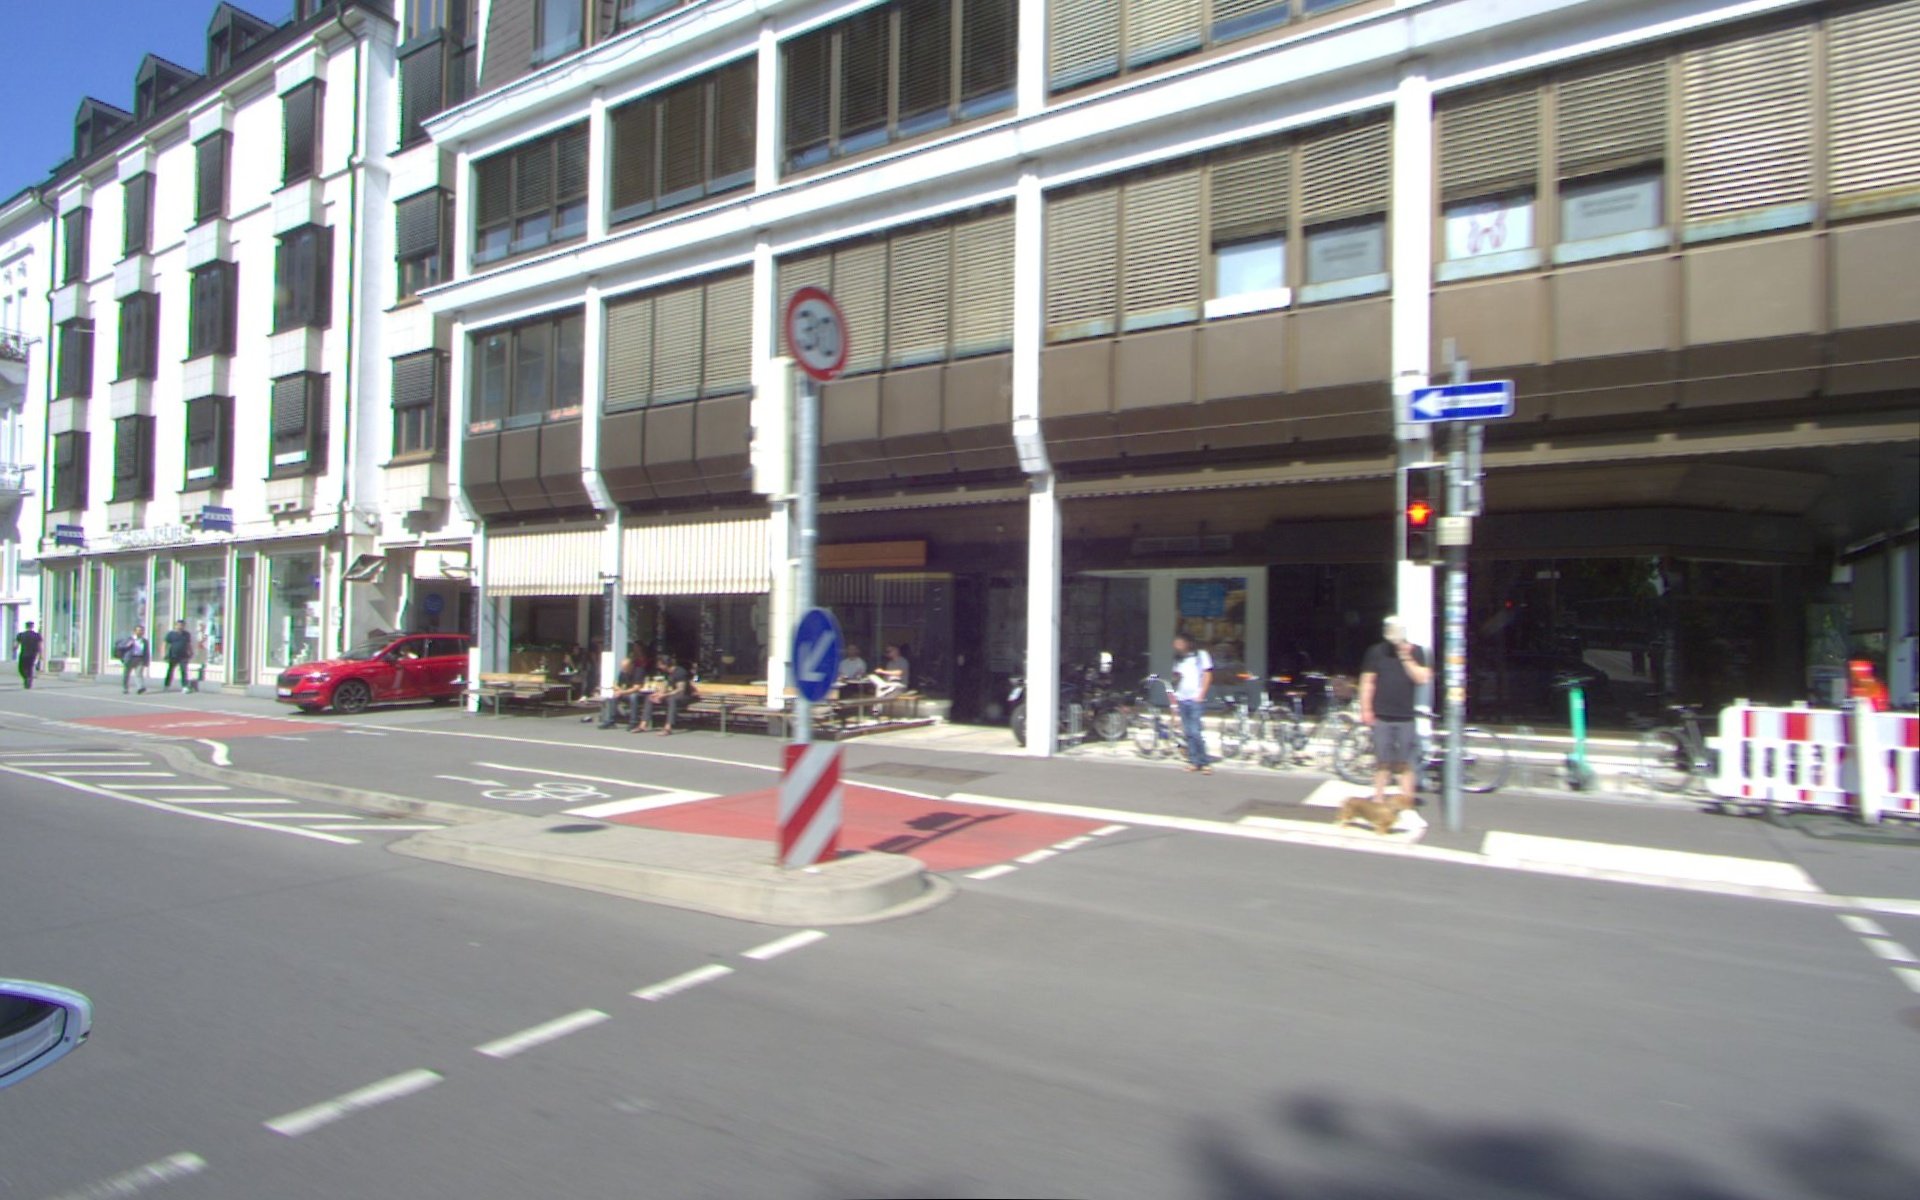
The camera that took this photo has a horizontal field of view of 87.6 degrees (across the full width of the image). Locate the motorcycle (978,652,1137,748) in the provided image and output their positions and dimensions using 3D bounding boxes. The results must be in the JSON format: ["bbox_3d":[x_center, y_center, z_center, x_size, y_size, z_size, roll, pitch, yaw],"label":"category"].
[{"bbox_3d":[1.440,1.413,14.677,2.212,1.306,0.944,1,-3,-31],"label":"motorcycle"}]

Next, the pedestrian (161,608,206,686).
[{"bbox_3d":[-19.157,1.157,24.699,0.826,1.873,0.691,-2,-3,40],"label":"pedestrian"}]

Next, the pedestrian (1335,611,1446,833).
[{"bbox_3d":[3.866,1.054,8.978,0.688,1.858,0.829,-2,-3,40],"label":"pedestrian"}]

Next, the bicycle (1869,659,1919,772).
[{"bbox_3d":[12.777,1.510,12.698,0.521,1.440,1.967,1,-1,-7],"label":"bicycle"}]

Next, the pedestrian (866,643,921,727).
[{"bbox_3d":[-1.146,1.446,17.289,0.686,1.414,0.710,-1,-2,31],"label":"pedestrian"}]

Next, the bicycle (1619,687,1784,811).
[{"bbox_3d":[7.497,1.469,10.198,0.370,1.079,1.470,1,-1,-12],"label":"bicycle"}]

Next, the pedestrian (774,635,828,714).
[{"bbox_3d":[-2.915,1.352,18.380,0.686,1.414,0.710,-1,-2,31],"label":"pedestrian"}]

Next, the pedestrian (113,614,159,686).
[{"bbox_3d":[-19.907,1.204,24.181,0.825,1.707,0.691,0,-2,40],"label":"pedestrian"}]

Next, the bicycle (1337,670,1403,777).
[{"bbox_3d":[4.917,1.435,11.963,0.274,1.135,1.710,0,-1,38],"label":"bicycle"}]

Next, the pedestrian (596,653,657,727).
[{"bbox_3d":[-5.531,1.473,16.607,0.689,1.187,0.708,-2,-3,40],"label":"pedestrian"}]

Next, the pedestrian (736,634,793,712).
[{"bbox_3d":[-3.656,1.357,18.760,0.686,1.414,0.812,-1,-2,29],"label":"pedestrian"}]

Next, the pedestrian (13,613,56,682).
[{"bbox_3d":[-23.859,1.220,25.818,0.824,1.741,0.619,-2,-3,34],"label":"pedestrian"}]

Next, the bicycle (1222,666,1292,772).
[{"bbox_3d":[3.700,1.436,12.410,0.274,1.222,1.540,0,-2,38],"label":"bicycle"}]

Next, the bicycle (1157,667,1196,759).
[{"bbox_3d":[2.970,1.484,13.649,0.272,1.110,2.241,1,-2,18],"label":"bicycle"}]

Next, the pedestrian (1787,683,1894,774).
[{"bbox_3d":[13.908,2.010,15.843,0.813,1.351,0.972,1,-2,-5],"label":"pedestrian"}]

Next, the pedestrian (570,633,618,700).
[{"bbox_3d":[-7.762,1.402,21.253,0.576,1.385,0.743,0,-2,30],"label":"pedestrian"}]

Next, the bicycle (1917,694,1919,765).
[{"bbox_3d":[13.373,1.522,12.625,0.521,1.441,1.966,1,0,-7],"label":"bicycle"}]

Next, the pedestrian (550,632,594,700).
[{"bbox_3d":[-8.149,1.372,21.031,0.679,1.385,0.534,0,-2,32],"label":"pedestrian"}]

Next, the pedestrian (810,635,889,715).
[{"bbox_3d":[-1.961,1.322,17.776,1.089,1.367,0.895,-2,-3,31],"label":"pedestrian"}]

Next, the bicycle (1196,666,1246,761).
[{"bbox_3d":[3.506,1.459,13.358,0.273,1.134,2.238,1,-2,24],"label":"bicycle"}]

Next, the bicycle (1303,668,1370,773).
[{"bbox_3d":[4.609,1.426,12.205,0.274,1.135,1.710,0,-1,38],"label":"bicycle"}]

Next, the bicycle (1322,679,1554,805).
[{"bbox_3d":[5.005,1.456,10.628,2.216,1.134,0.275,0,-2,40],"label":"bicycle"}]

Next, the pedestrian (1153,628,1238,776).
[{"bbox_3d":[2.819,1.186,11.968,0.688,1.684,0.829,-2,-3,40],"label":"pedestrian"}]

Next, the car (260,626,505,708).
[{"bbox_3d":[-11.775,1.348,20.677,1.816,1.513,4.038,-3,-4,33],"label":"car"}]

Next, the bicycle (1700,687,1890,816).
[{"bbox_3d":[8.203,1.452,9.901,0.304,1.079,1.467,1,-1,-23],"label":"bicycle"}]

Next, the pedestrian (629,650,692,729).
[{"bbox_3d":[-4.828,1.425,16.137,0.689,1.232,0.708,-2,-3,40],"label":"pedestrian"}]

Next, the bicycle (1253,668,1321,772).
[{"bbox_3d":[4.006,1.431,12.214,0.274,1.135,1.565,0,-1,38],"label":"bicycle"}]

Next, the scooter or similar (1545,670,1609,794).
[{"bbox_3d":[6.777,1.405,10.979,0.474,1.248,1.242,0,-2,37],"label":"scooter or similar"}]

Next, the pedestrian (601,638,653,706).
[{"bbox_3d":[-6.902,1.482,20.767,0.529,1.385,0.876,0,-2,30],"label":"pedestrian"}]

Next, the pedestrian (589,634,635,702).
[{"bbox_3d":[-7.289,1.410,21.012,0.471,1.385,0.760,0,-2,30],"label":"pedestrian"}]

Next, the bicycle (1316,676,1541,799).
[{"bbox_3d":[5.058,1.453,10.949,2.216,1.134,0.275,0,-2,40],"label":"bicycle"}]
